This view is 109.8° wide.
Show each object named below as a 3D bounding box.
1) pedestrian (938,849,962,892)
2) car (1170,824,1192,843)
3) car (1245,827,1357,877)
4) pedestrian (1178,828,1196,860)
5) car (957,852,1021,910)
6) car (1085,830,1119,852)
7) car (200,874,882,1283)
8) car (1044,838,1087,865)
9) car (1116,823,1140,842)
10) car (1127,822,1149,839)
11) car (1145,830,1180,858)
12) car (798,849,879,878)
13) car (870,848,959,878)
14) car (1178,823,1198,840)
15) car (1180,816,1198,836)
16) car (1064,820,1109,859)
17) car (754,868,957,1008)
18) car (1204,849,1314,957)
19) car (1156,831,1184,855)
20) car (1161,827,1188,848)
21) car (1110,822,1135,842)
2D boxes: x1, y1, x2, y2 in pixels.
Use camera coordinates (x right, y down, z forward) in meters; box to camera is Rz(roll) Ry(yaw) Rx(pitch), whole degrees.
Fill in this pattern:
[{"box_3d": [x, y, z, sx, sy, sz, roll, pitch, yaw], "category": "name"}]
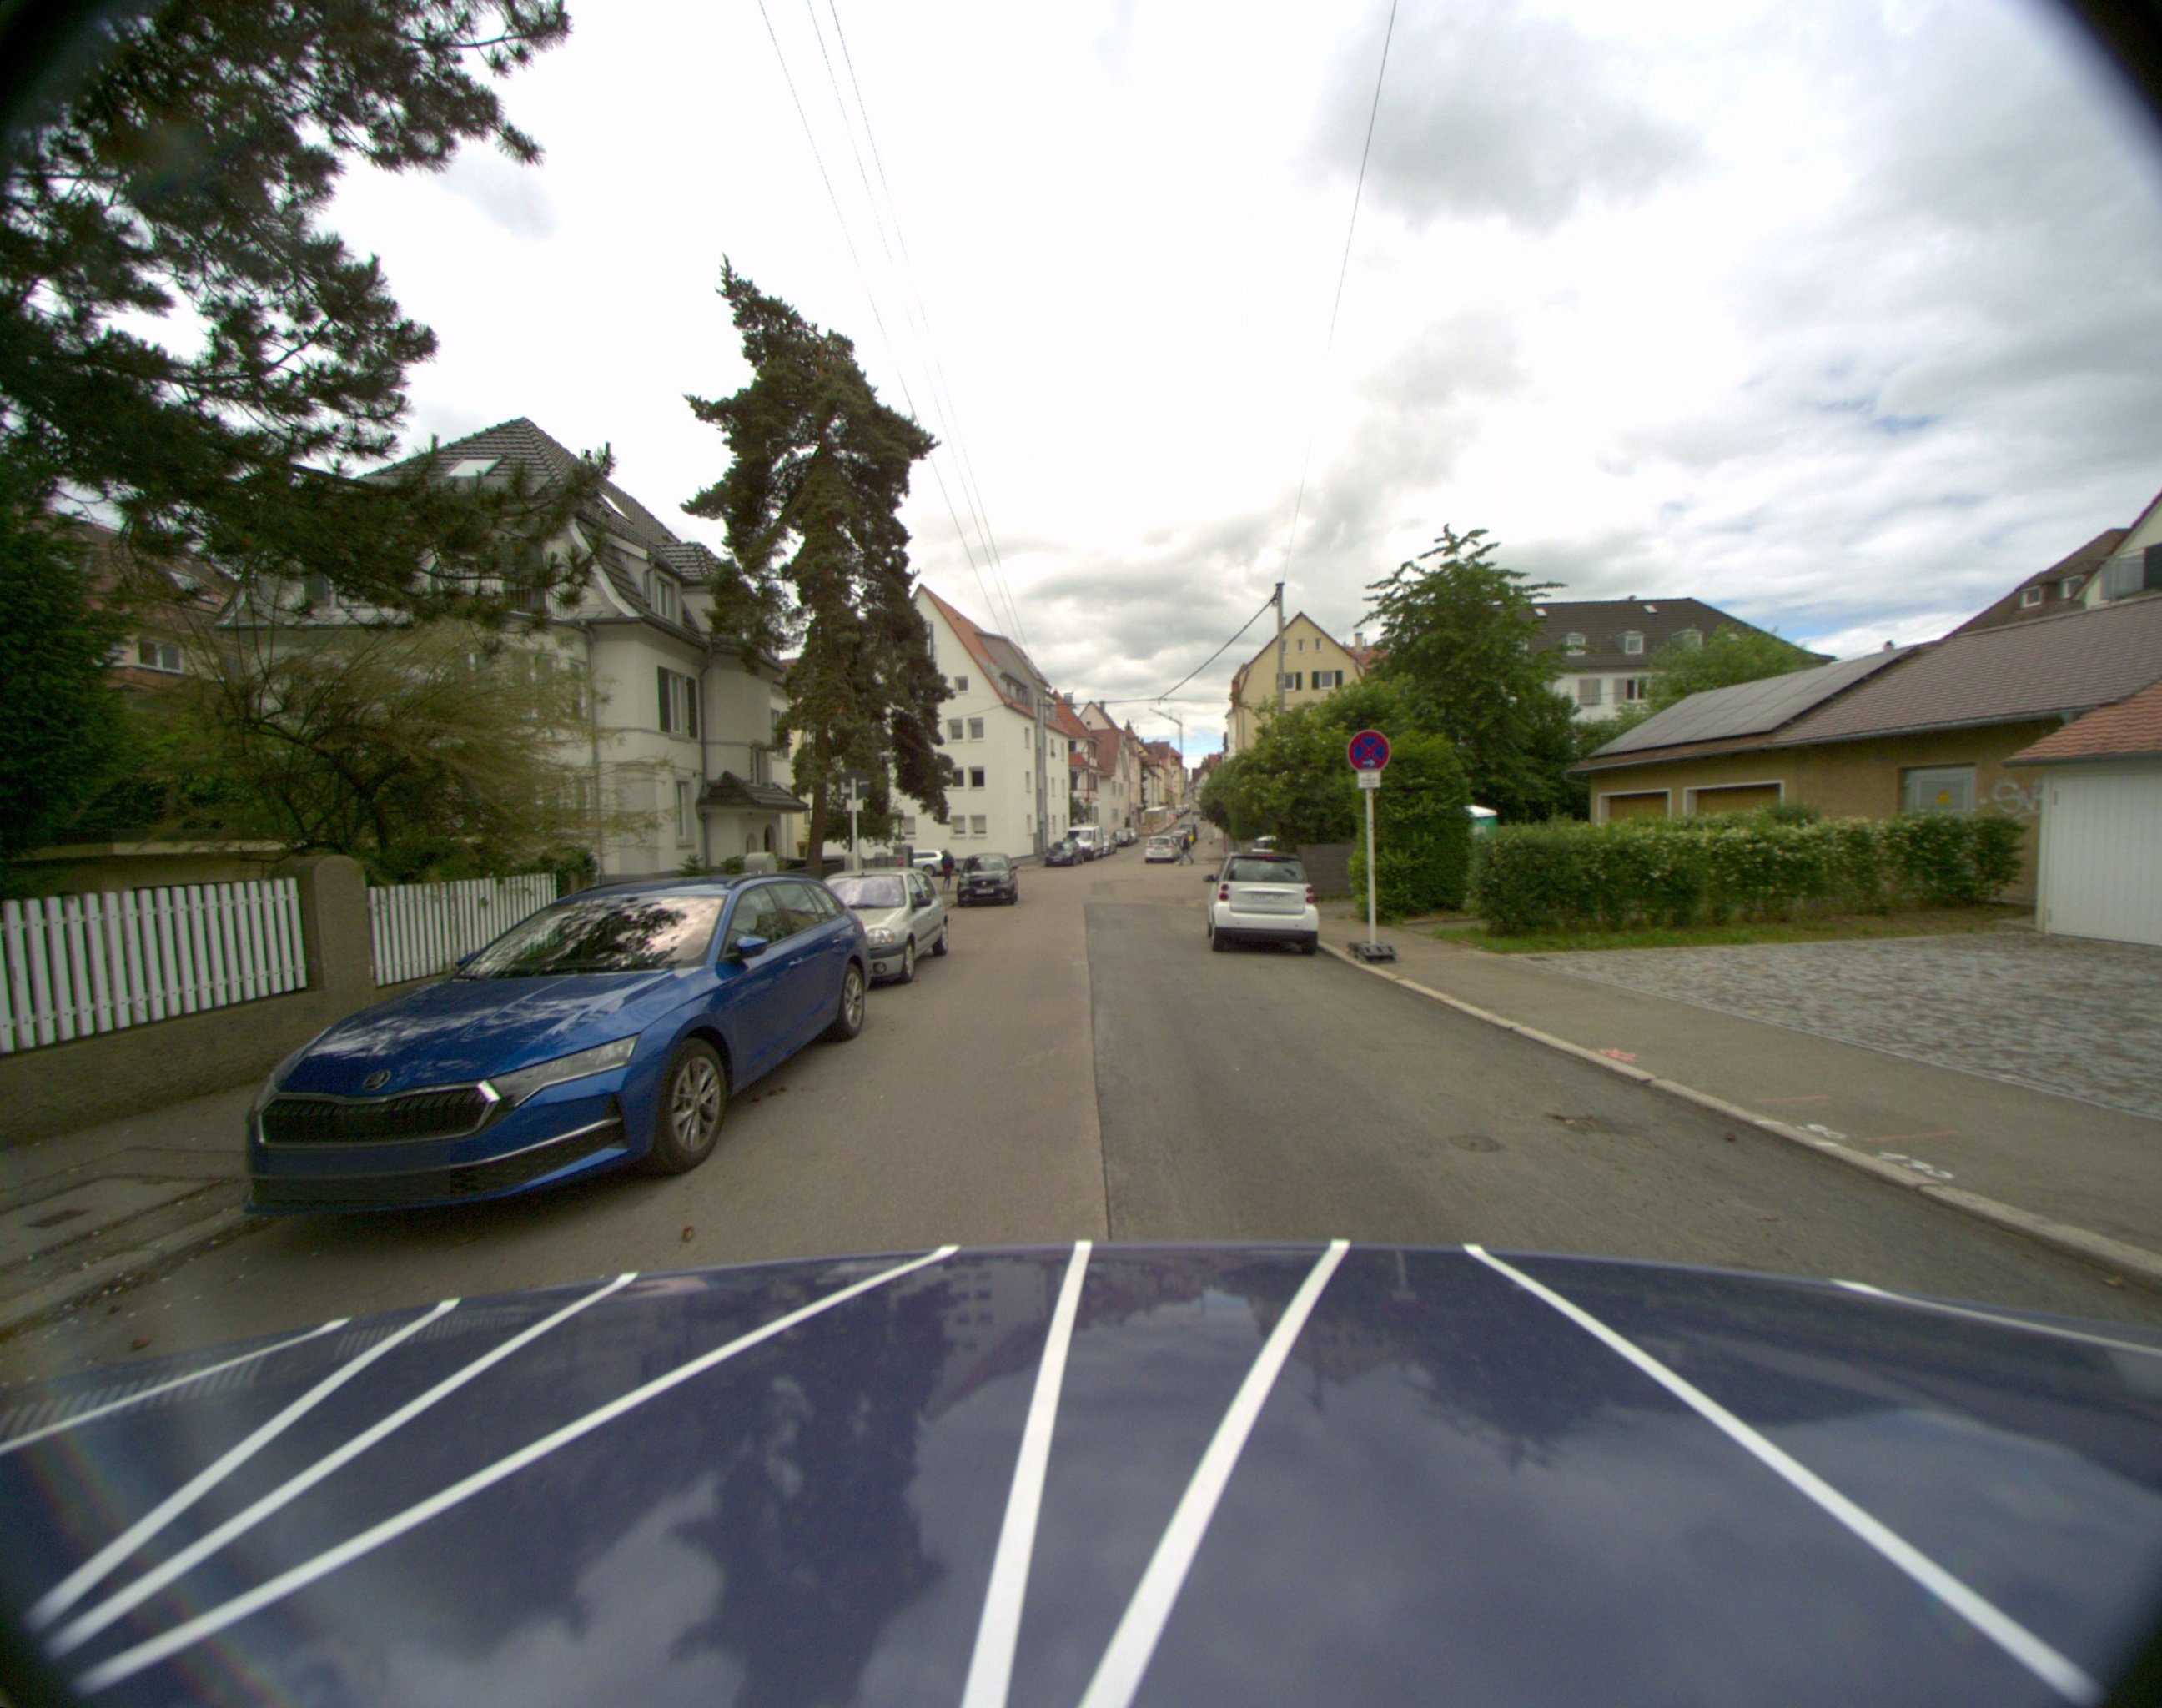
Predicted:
[{"box_3d": [-5.028, 0.615, 29.185, 0.682, 1.568, 0.906, 1, 3, 6], "category": "pedestrian"}, {"box_3d": [8.779, -1.808, 66.708, 1.641, 1.421, 4.123, 1, 5, 11], "category": "car"}, {"box_3d": [8.839, -0.121, 30.375, 4.521, 1.646, 1.830, -5, 3, -36], "category": "car"}, {"box_3d": [5.933, -0.581, 42.525, 0.822, 1.750, 0.644, -3, 2, 3], "category": "pedestrian"}, {"box_3d": [-2.725, 0.753, 23.041, 1.576, 1.523, 2.866, -4, 1, -2], "category": "car"}, {"box_3d": [1.657, -1.021, 58.613, 1.827, 1.437, 4.384, -2, 4, 13], "category": "car"}, {"box_3d": [-2.761, 0.991, 5.177, 1.651, 1.450, 4.051, -3, 1, 0], "category": "car"}, {"box_3d": [-0.888, -0.184, 46.871, 1.821, 1.478, 4.288, -1, 3, 10], "category": "car"}, {"box_3d": [4.299, -1.963, 69.437, 1.607, 1.482, 4.023, -2, 4, 11], "category": "car"}, {"box_3d": [5.535, -2.312, 73.896, 1.628, 1.385, 4.236, -2, 4, 10], "category": "car"}, {"box_3d": [5.191, -0.644, 47.850, 1.807, 1.650, 4.153, 0, 2, 11], "category": "car"}, {"box_3d": [-13.743, 0.553, 43.110, 3.992, 1.414, 1.739, -2, 2, 16], "category": "car"}, {"box_3d": [-9.135, 0.476, 41.761, 4.352, 1.442, 1.765, -2, 1, 13], "category": "car"}, {"box_3d": [10.006, -2.107, 70.705, 1.641, 1.391, 3.703, 0, 4, 11], "category": "car"}, {"box_3d": [10.788, -2.798, 75.647, 1.752, 1.788, 4.148, 0, 5, 9], "category": "car"}, {"box_3d": [0.469, -1.056, 52.680, 1.996, 2.410, 5.294, 0, 4, 12], "category": "car"}, {"box_3d": [-2.833, 0.984, 10.368, 1.578, 1.392, 3.655, -3, 1, 1], "category": "car"}, {"box_3d": [2.845, 0.715, 12.619, 1.445, 1.543, 2.771, 2, 1, 7], "category": "car"}, {"box_3d": [6.230, -0.801, 52.803, 1.609, 1.445, 3.615, 2, 4, 11], "category": "car"}, {"box_3d": [7.532, -1.338, 61.151, 1.805, 1.472, 4.329, 0, 4, 11], "category": "car"}, {"box_3d": [3.836, -2.012, 69.417, 1.780, 1.711, 4.001, -1, 2, 10], "category": "car"}]
